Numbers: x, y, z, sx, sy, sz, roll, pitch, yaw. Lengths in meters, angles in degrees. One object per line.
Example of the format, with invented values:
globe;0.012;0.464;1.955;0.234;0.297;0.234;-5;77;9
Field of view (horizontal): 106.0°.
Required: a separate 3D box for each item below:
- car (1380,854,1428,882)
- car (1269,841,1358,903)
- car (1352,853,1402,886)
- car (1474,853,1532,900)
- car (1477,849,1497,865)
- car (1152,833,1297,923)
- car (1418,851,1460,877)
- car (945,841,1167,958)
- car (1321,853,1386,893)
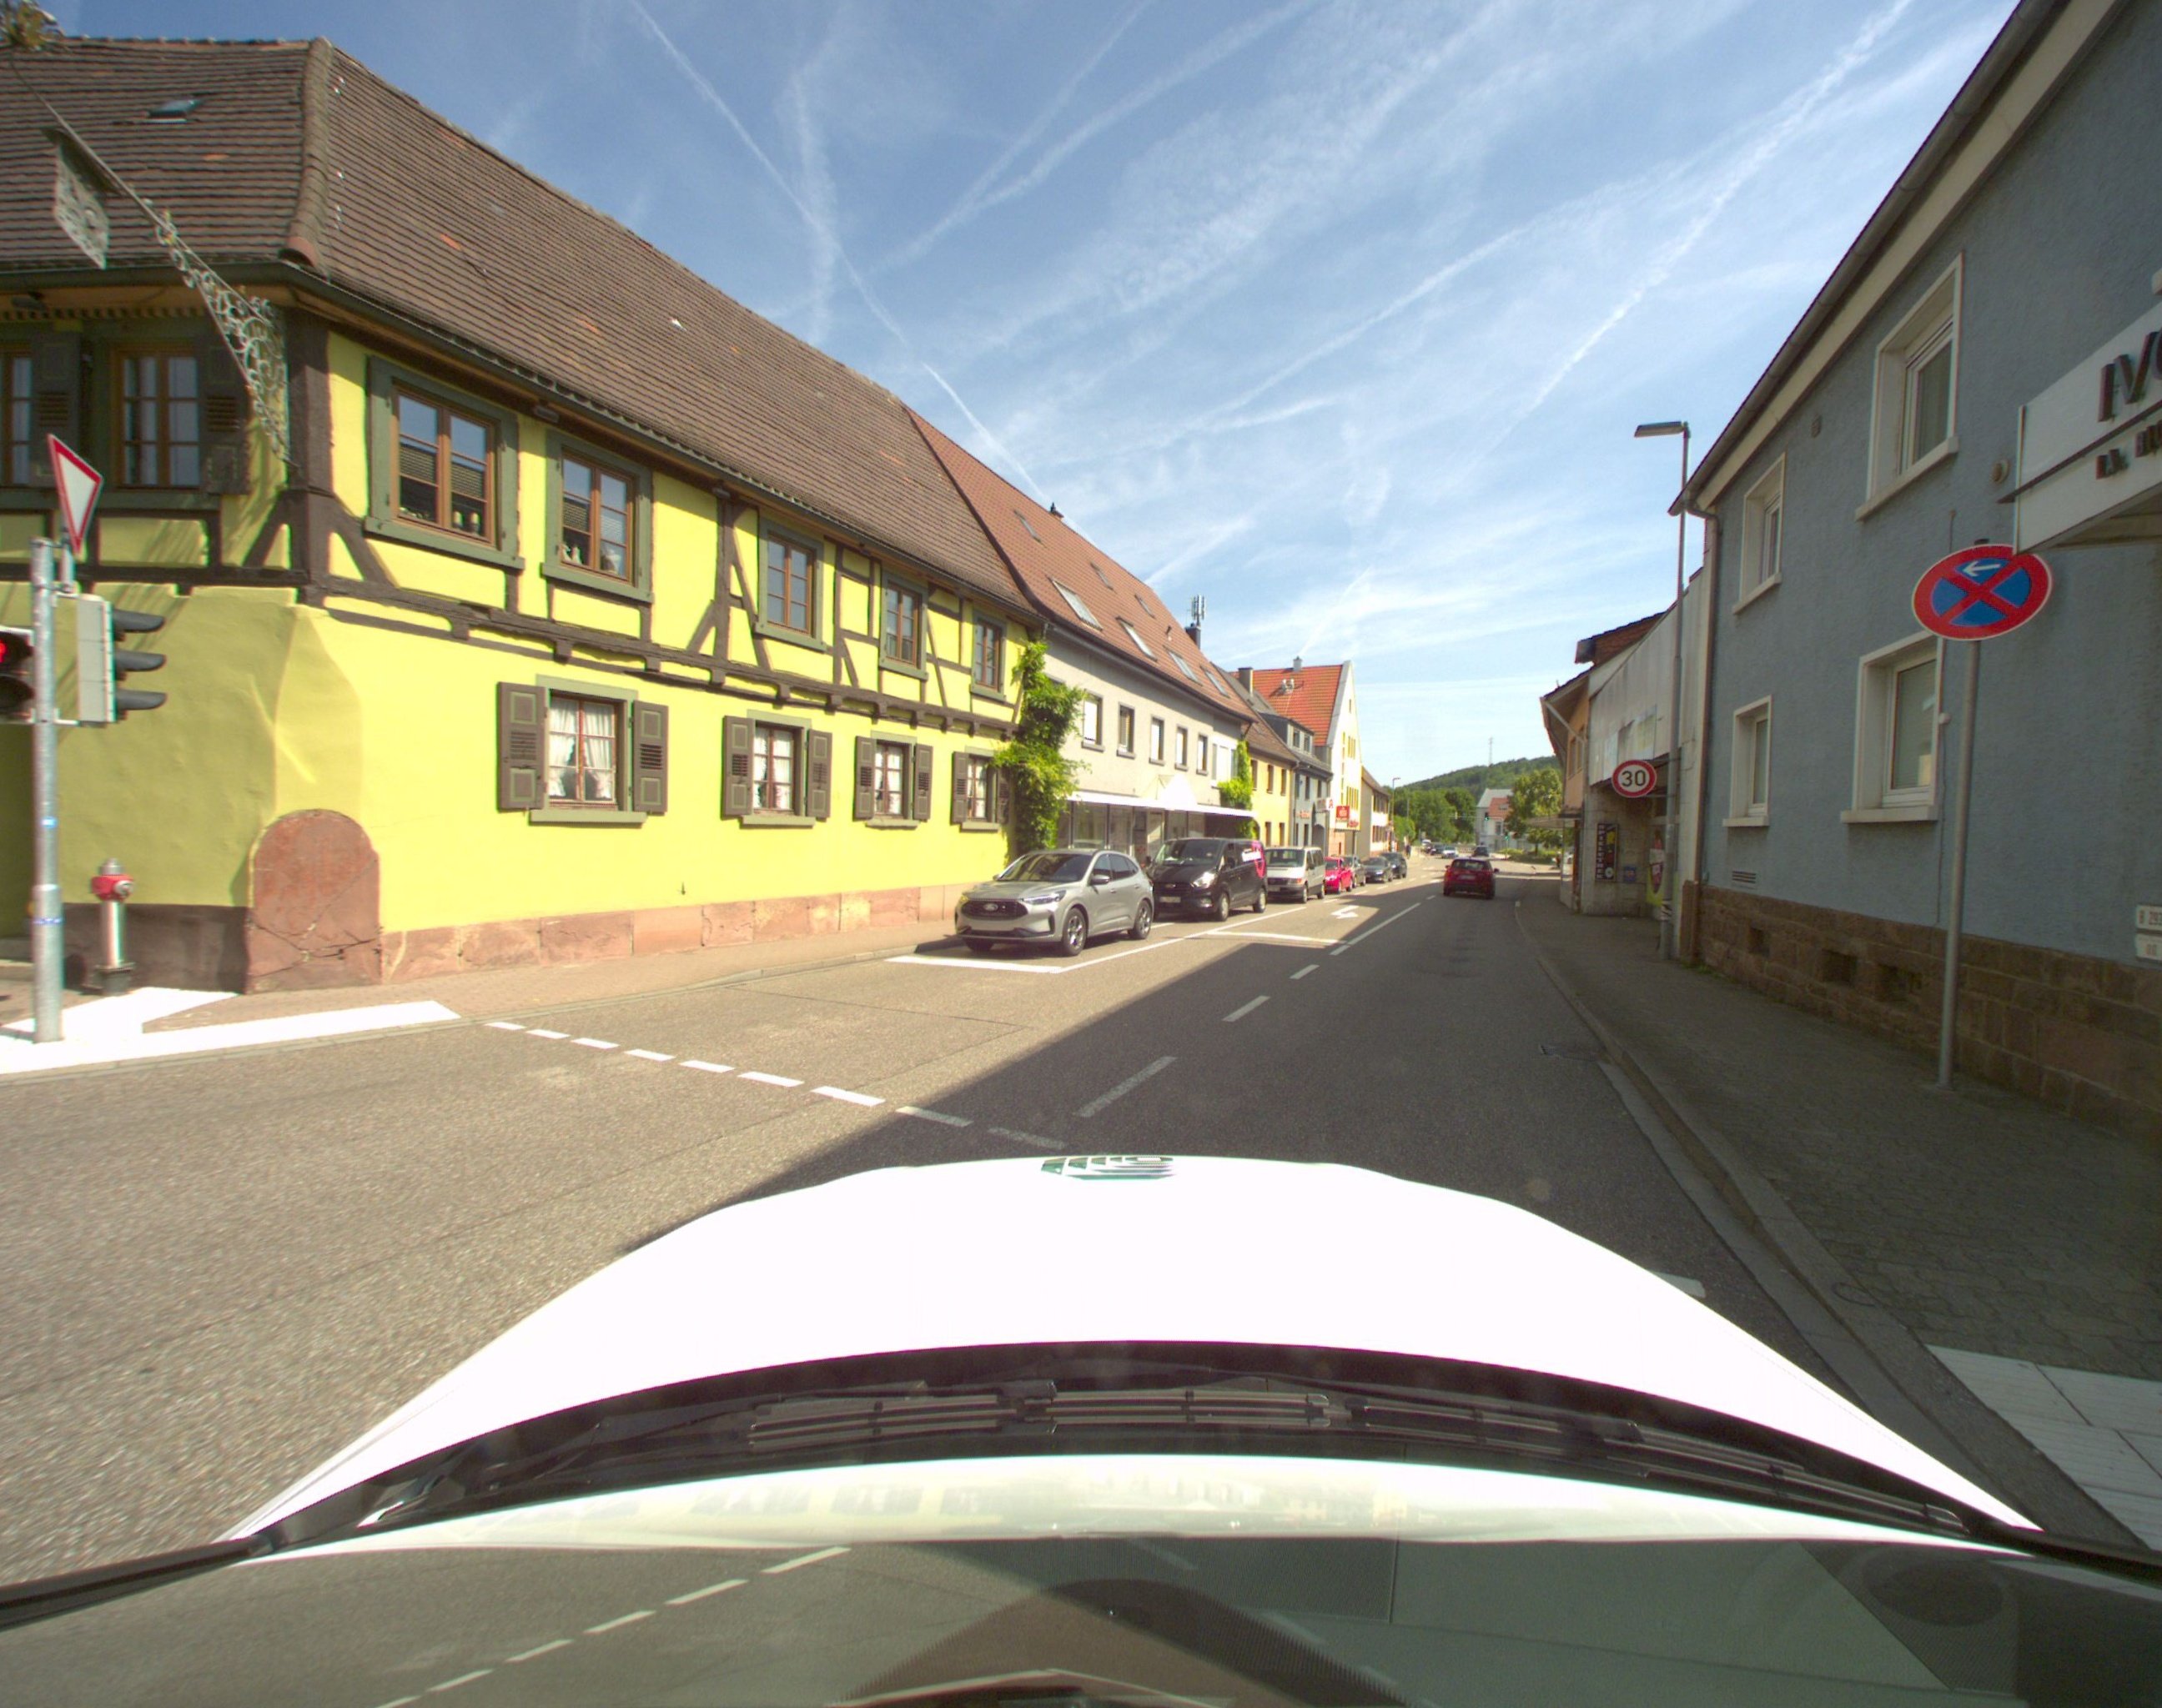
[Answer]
car;17.756;0.735;44.693;1.772;1.450;4.451;0;0;30
car;7.841;0.554;27.161;1.865;1.890;4.579;0;0;29
car;14.486;0.709;39.750;1.613;1.520;4.044;0;0;30
car;17.311;0.841;33.295;1.841;1.714;4.449;3;2;30
car;50.754;0.356;101.783;1.914;1.794;3.980;1;-1;32
car;3.747;0.513;20.332;2.139;1.923;5.196;0;0;27
car;22.579;0.598;51.276;1.849;1.589;4.546;0;0;30
car;-0.202;0.635;13.583;1.739;1.610;4.455;-1;0;27
car;11.098;0.728;32.992;1.742;1.492;4.101;0;0;29
